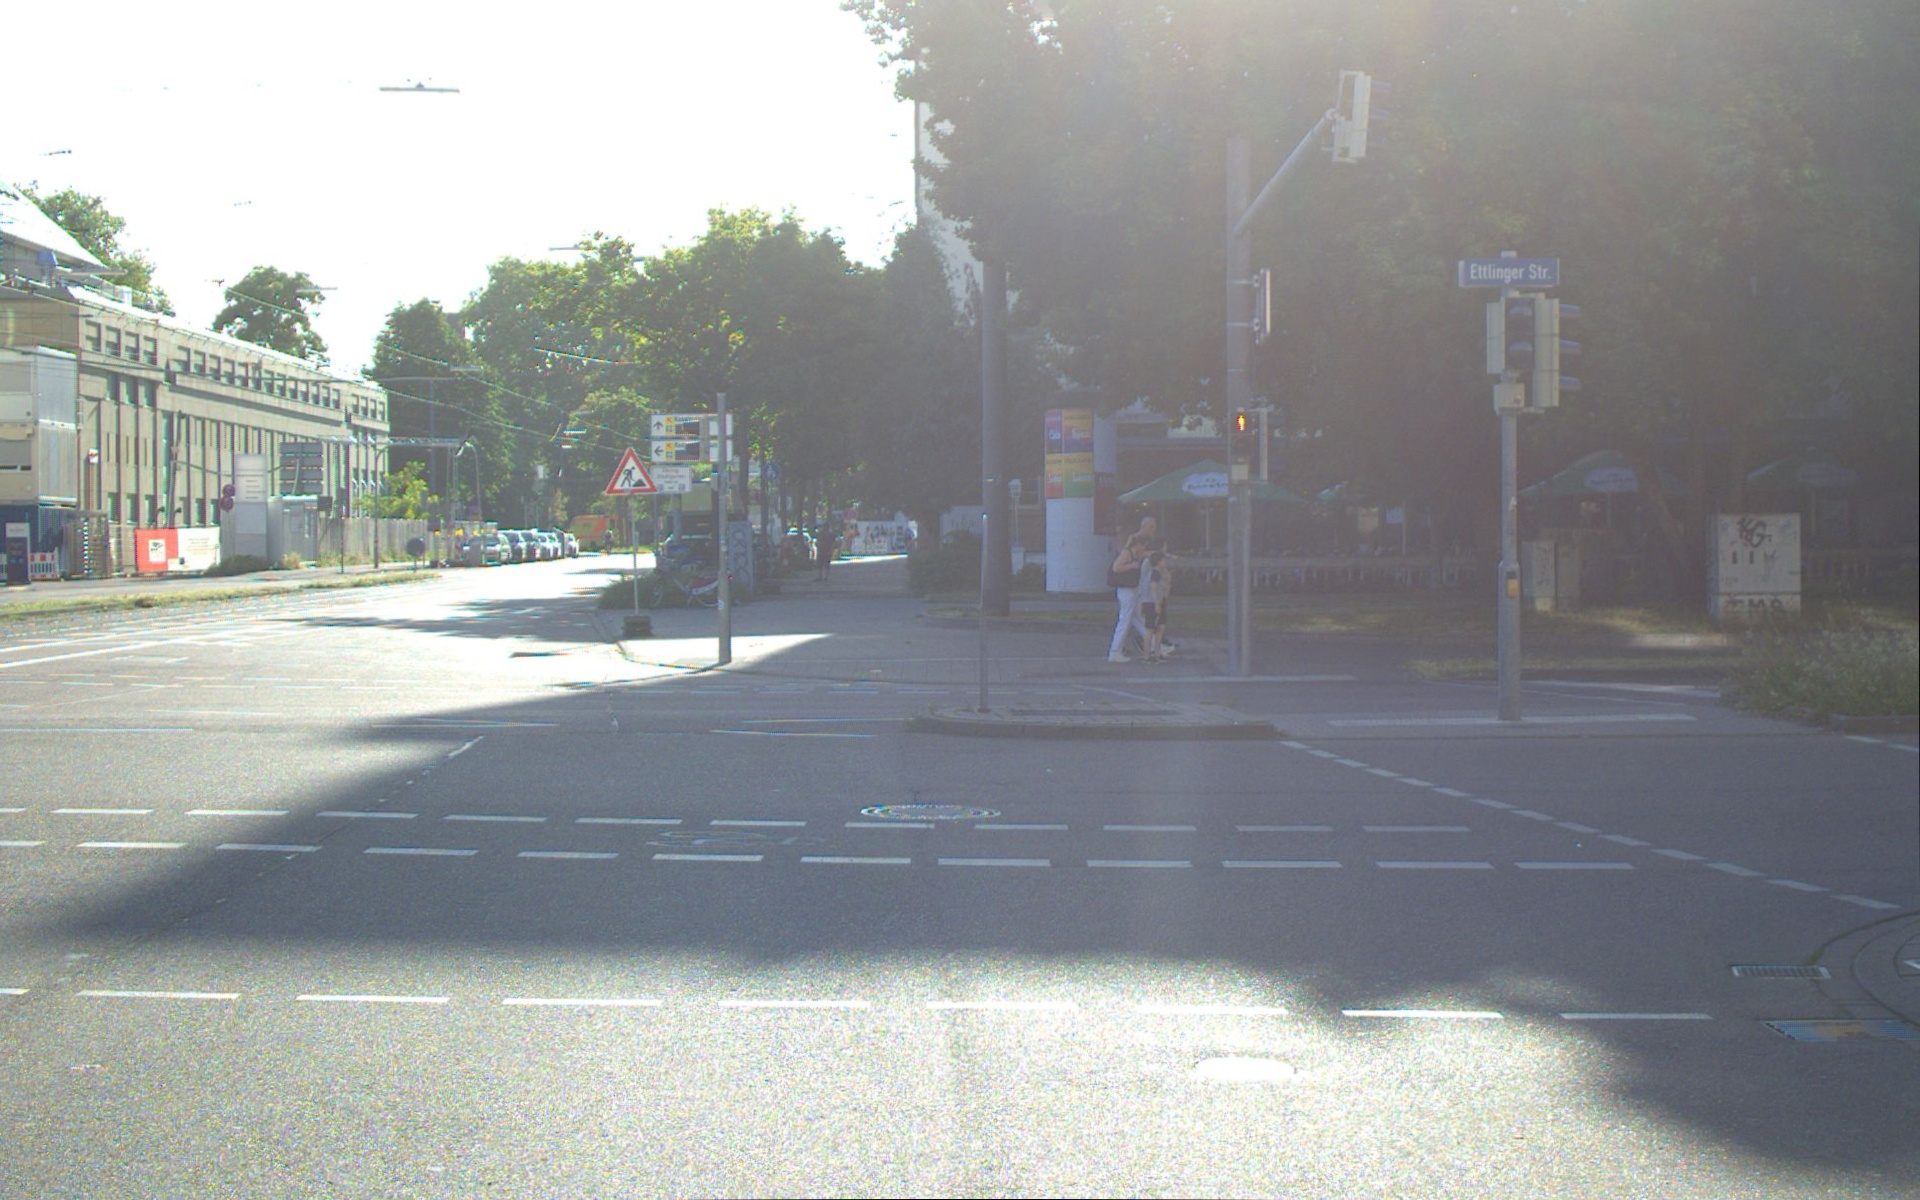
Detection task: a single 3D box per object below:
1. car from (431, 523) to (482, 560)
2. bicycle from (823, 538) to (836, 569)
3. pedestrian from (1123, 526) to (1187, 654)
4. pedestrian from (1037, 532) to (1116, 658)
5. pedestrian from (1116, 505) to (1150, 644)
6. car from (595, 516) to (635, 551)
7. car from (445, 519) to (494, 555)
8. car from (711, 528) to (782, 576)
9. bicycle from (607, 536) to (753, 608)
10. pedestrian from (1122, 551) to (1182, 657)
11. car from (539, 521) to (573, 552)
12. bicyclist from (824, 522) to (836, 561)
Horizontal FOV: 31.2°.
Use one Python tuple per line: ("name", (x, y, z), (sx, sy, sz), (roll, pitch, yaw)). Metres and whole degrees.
("car", (-22.830, -2.669, 155.949), (1.731, 1.647, 4.000), (0, 1, -1))
("bicycle", (-3.752, -1.339, 98.559), (0.324, 0.865, 1.483), (0, 1, -1))
("pedestrian", (2.514, -0.134, 44.372), (0.795, 1.634, 0.533), (0, 1, 2))
("pedestrian", (1.478, -0.063, 43.771), (0.984, 1.582, 0.660), (0, 0, 1))
("pedestrian", (2.260, -0.335, 44.914), (0.361, 1.798, 0.506), (0, 1, 11))
("car", (-20.576, -3.949, 204.907), (1.993, 2.007, 4.000), (1, 1, -1))
("car", (-22.828, -2.918, 160.016), (1.731, 1.647, 4.000), (0, 1, -1))
("car", (-5.739, -1.303, 92.644), (1.819, 1.274, 4.001), (0, 1, -3))
("bicycle", (-5.472, -0.555, 67.149), (2.748, 1.363, 0.630), (1, 0, 11))
("pedestrian", (2.442, 0.042, 43.673), (0.752, 1.328, 0.742), (0, 1, 4))
("car", (-22.841, -3.609, 194.583), (1.483, 1.744, 4.000), (-1, 1, -1))
("bicyclist", (-3.719, -1.669, 98.447), (0.318, 1.124, 0.291), (0, 1, 3))
